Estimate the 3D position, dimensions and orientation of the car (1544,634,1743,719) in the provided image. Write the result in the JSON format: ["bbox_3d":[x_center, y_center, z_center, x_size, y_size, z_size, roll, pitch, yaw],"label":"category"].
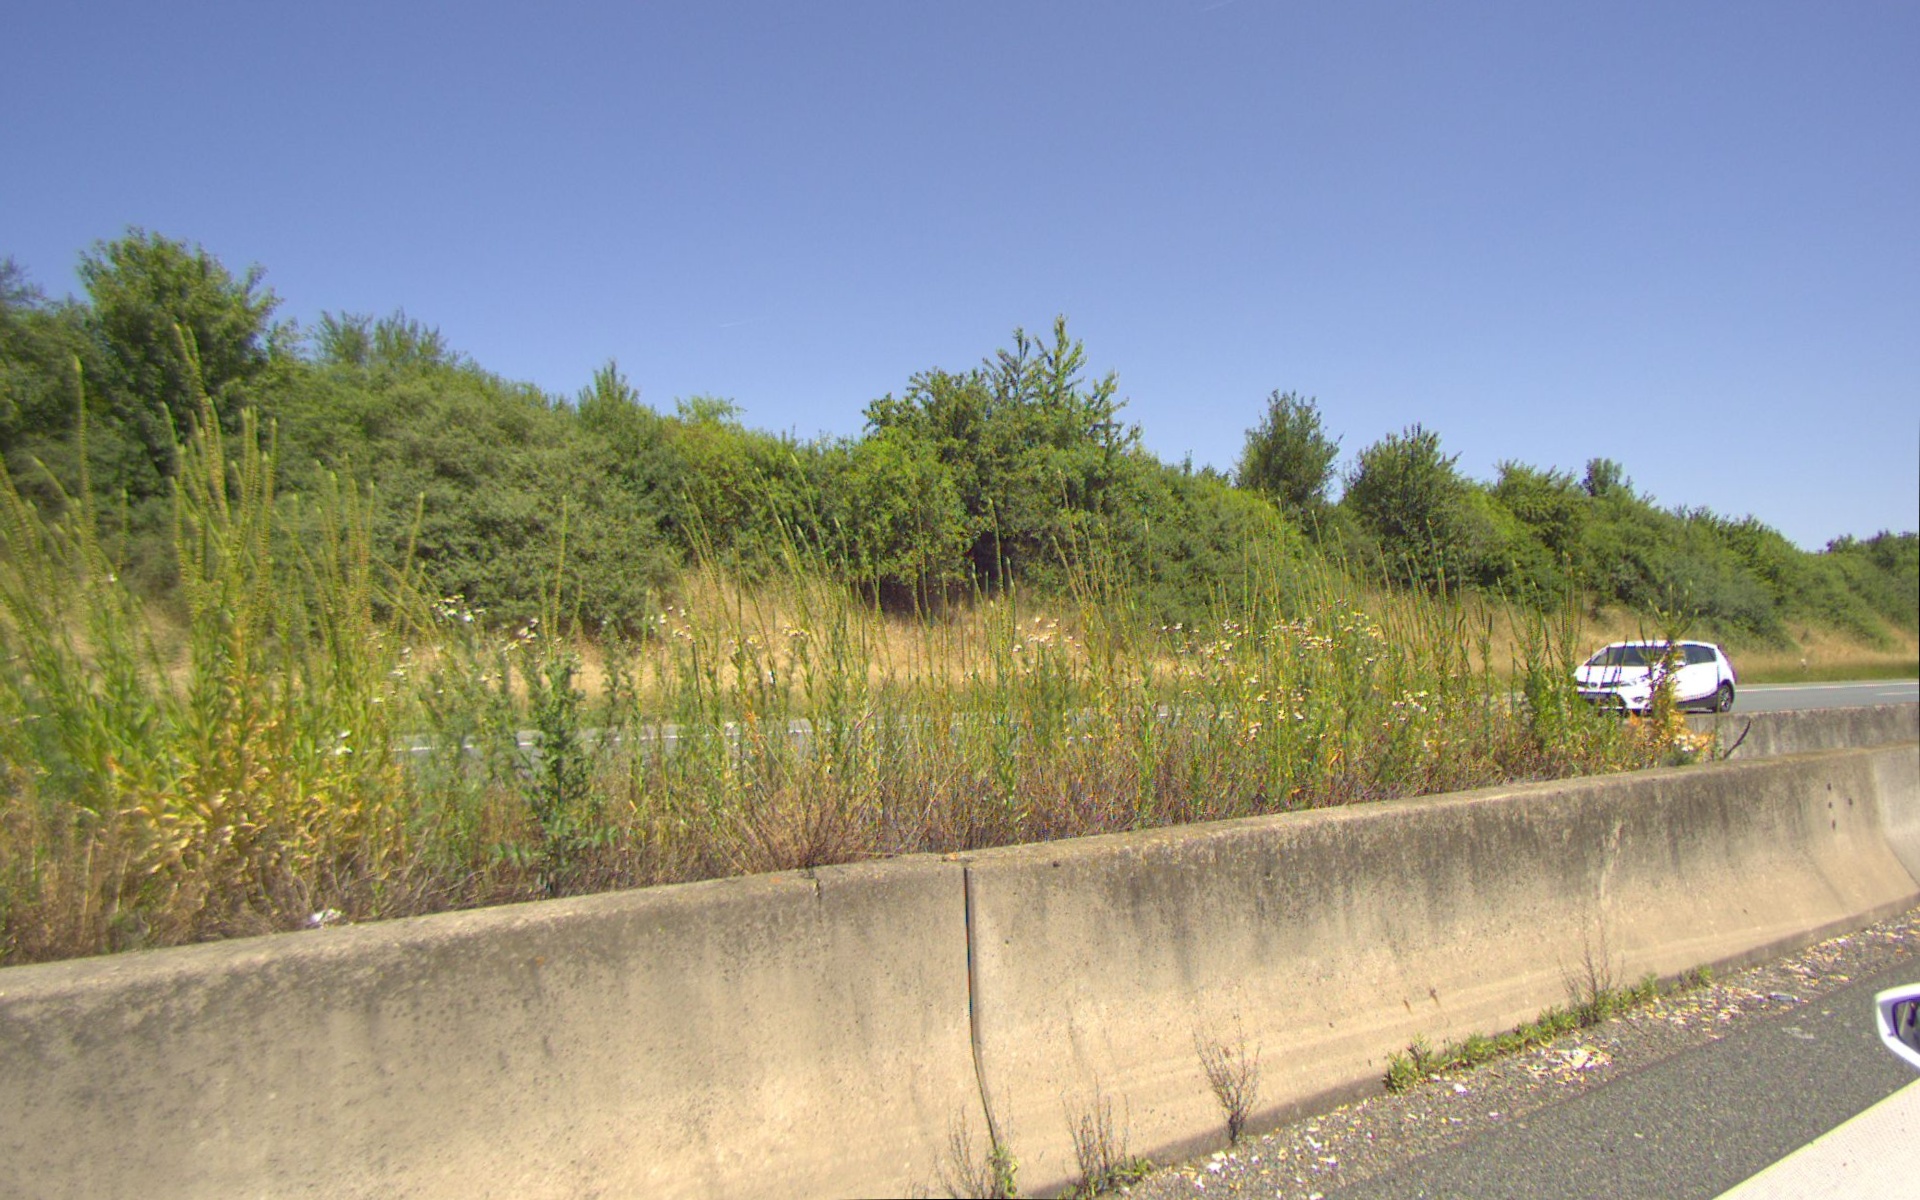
[{"bbox_3d":[14.893,1.596,21.851,4.180,1.684,1.984,1,-2,-30],"label":"car"}]
